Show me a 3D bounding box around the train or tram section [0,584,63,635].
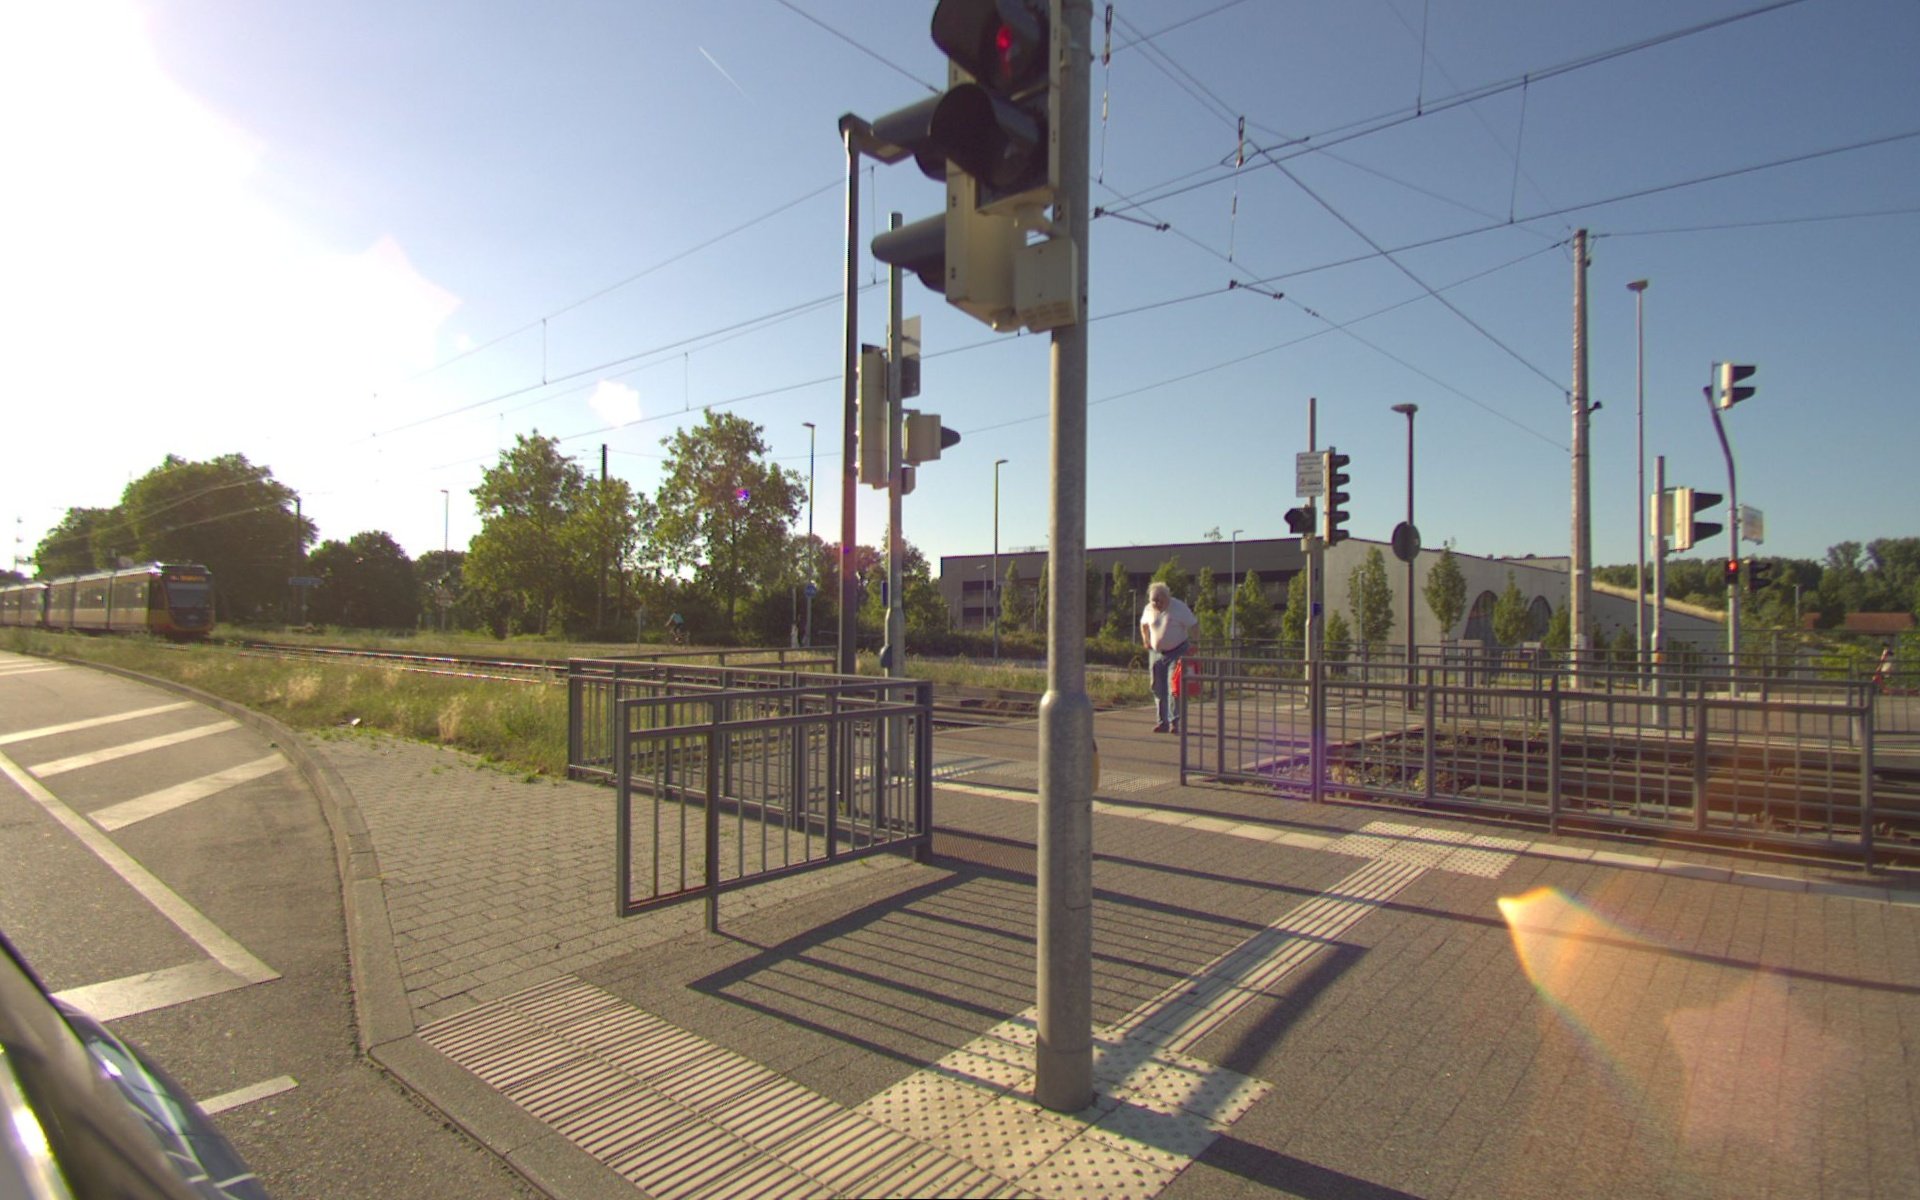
[{"bbox_3d":[-77.414,0.848,84.030,11.907,3.977,2.854,-1,-1,41],"label":"train or tram section"}]

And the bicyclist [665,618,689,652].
[{"bbox_3d":[-13.503,1.661,48.278,0.835,1.629,0.760,-1,-2,41],"label":"bicyclist"}]

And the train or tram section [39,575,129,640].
[{"bbox_3d":[-58.178,0.565,67.088,12.107,3.977,2.854,-1,-1,41],"label":"train or tram section"}]

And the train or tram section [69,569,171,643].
[{"bbox_3d":[-49.386,0.429,59.341,11.335,3.977,2.854,-1,-1,41],"label":"train or tram section"}]

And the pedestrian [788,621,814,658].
[{"bbox_3d":[-6.958,1.718,44.226,0.878,1.621,0.713,-1,-2,42],"label":"pedestrian"}]

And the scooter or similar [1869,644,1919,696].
[{"bbox_3d":[20.621,1.524,22.049,1.131,1.104,0.400,-1,-2,30],"label":"scooter or similar"}]

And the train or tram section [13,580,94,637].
[{"bbox_3d":[-67.834,0.699,75.599,13.653,3.977,2.854,-1,-1,41],"label":"train or tram section"}]

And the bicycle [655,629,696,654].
[{"bbox_3d":[-13.588,1.990,48.345,2.527,1.136,0.624,-1,-2,42],"label":"bicycle"}]

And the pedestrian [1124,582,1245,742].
[{"bbox_3d":[2.468,0.654,11.160,0.878,1.657,0.988,2,-2,-43],"label":"pedestrian"}]

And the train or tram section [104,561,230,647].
[{"bbox_3d":[-40.599,0.280,51.587,12.107,3.977,2.854,-1,-1,41],"label":"train or tram section"}]
